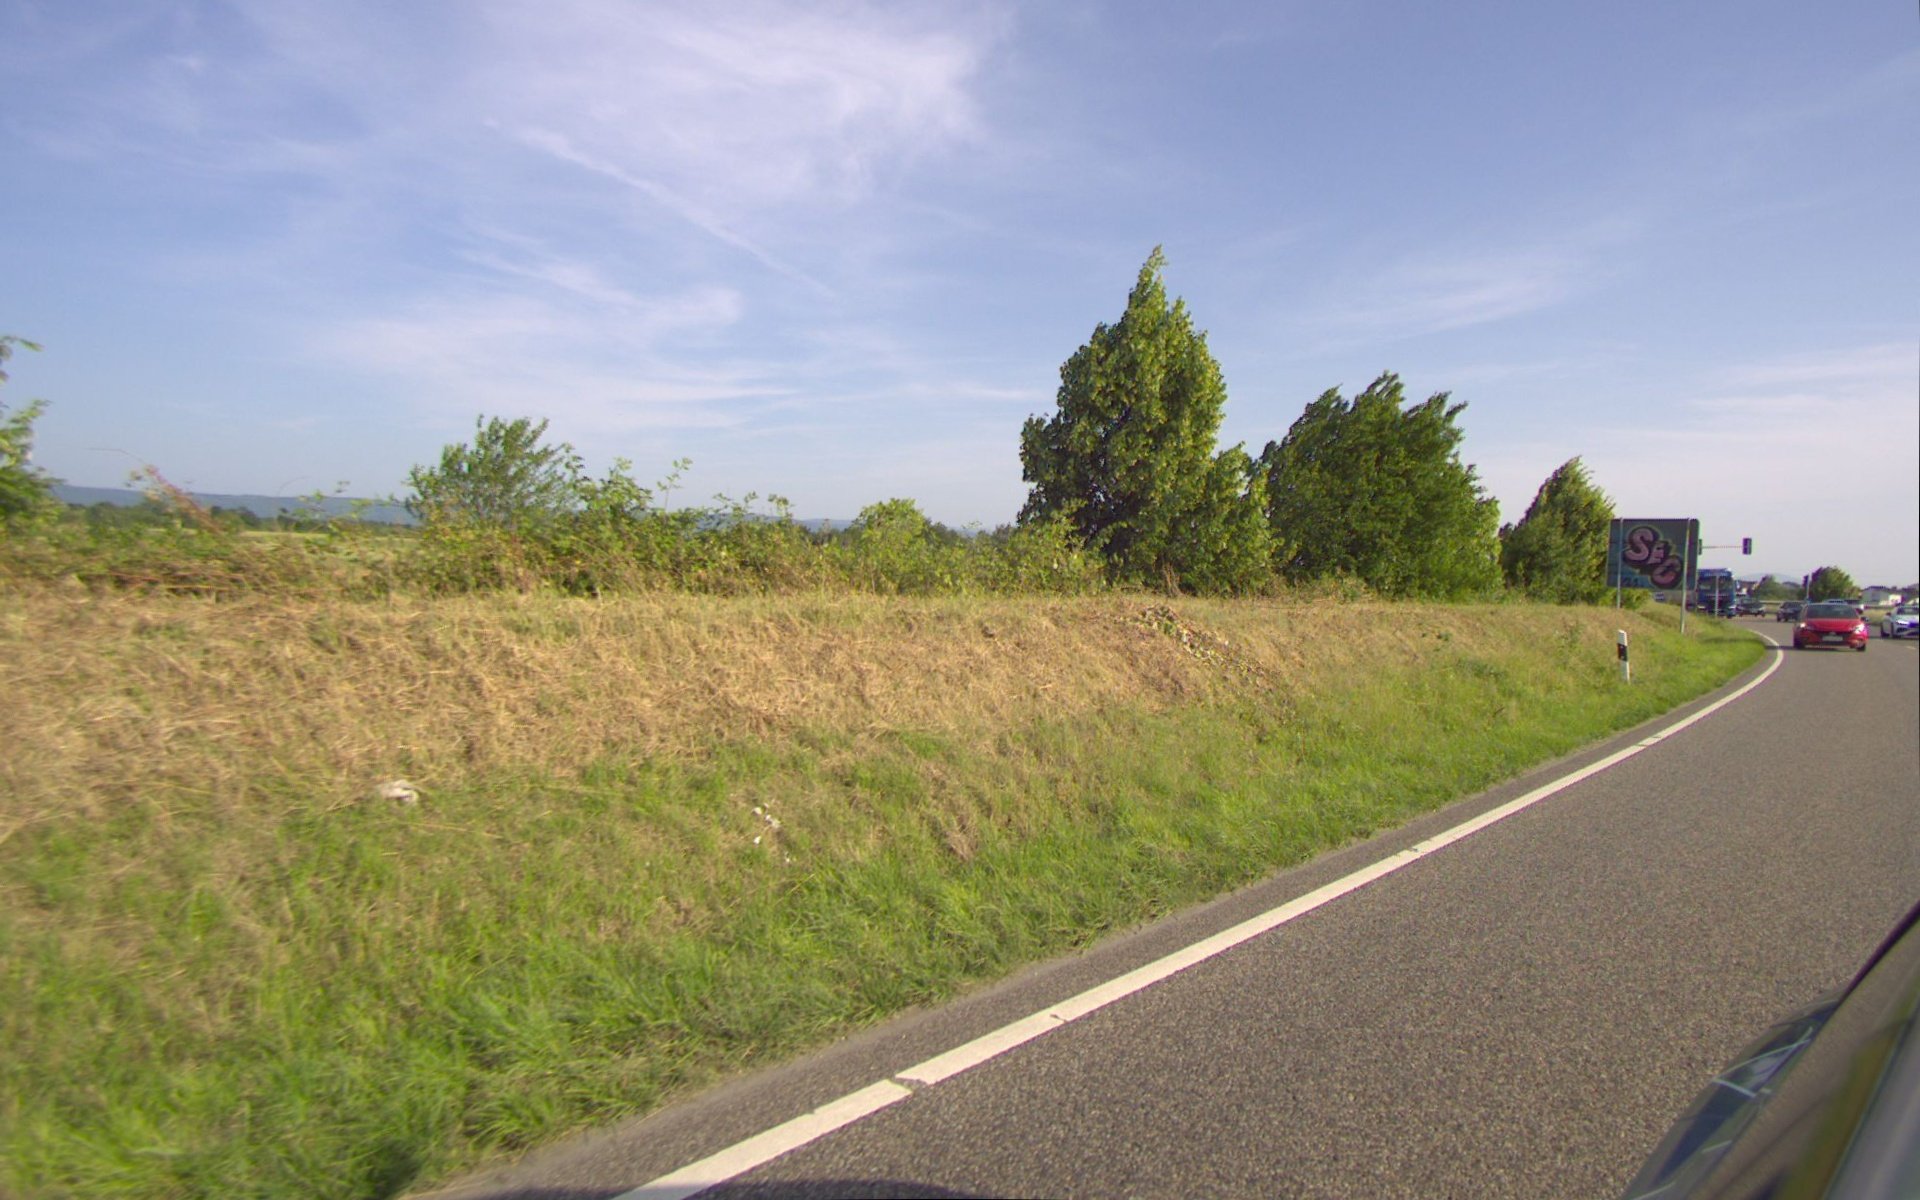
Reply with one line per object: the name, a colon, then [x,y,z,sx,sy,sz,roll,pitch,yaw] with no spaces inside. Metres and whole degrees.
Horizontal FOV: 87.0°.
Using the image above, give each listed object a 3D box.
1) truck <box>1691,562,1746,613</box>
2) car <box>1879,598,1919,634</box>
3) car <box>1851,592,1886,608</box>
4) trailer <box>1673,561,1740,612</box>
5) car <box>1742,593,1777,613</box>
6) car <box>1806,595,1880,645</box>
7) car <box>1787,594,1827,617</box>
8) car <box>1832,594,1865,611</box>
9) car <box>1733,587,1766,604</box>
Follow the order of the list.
truck: [60.889,-1.027,81.354,2.629,3.969,5.892,0,1,28]
car: [40.609,0.648,42.665,1.861,1.415,4.160,1,1,30]
car: [88.688,-0.020,98.813,1.697,1.544,4.090,1,1,31]
trailer: [63.991,-1.162,87.048,2.629,4.028,13.793,0,1,28]
car: [68.089,0.223,86.199,1.818,1.549,3.956,1,1,31]
car: [28.386,0.595,32.621,1.659,1.482,3.899,1,1,39]
car: [59.713,0.360,71.390,1.741,1.549,3.951,1,1,34]
car: [82.147,0.235,93.596,1.671,1.461,3.709,1,1,32]
car: [94.098,-0.564,120.664,1.981,1.927,5.735,1,1,27]
